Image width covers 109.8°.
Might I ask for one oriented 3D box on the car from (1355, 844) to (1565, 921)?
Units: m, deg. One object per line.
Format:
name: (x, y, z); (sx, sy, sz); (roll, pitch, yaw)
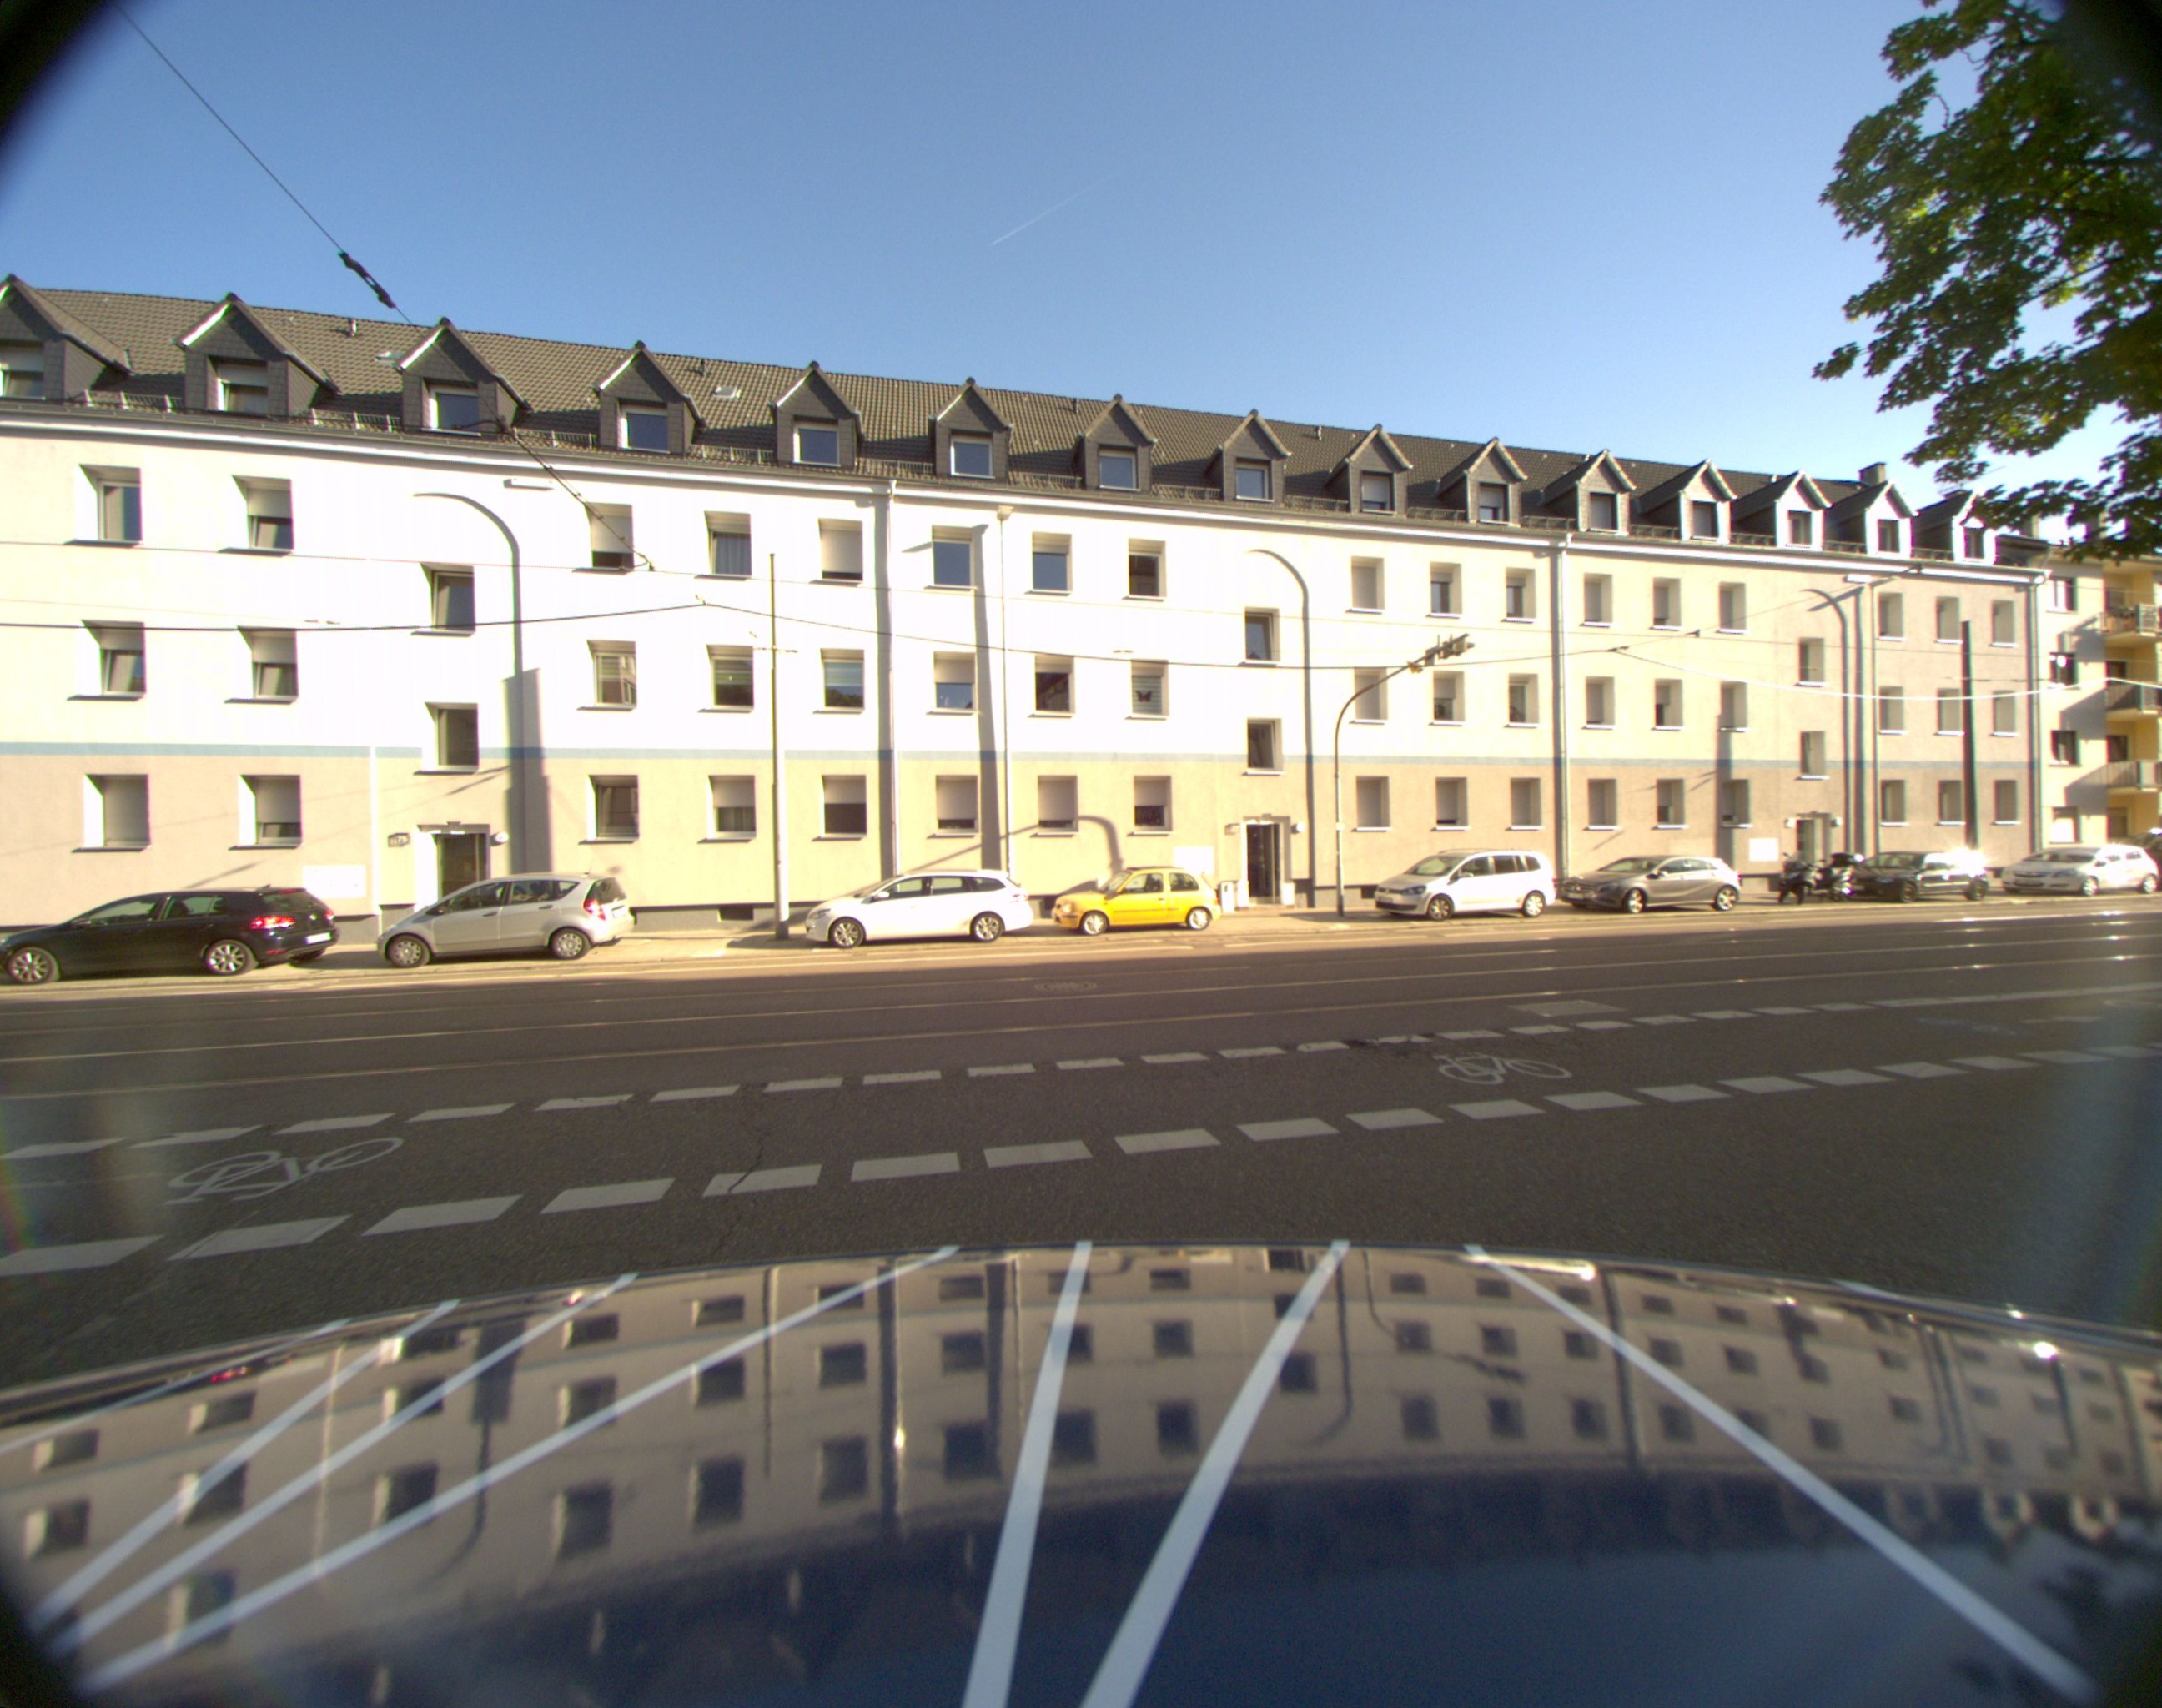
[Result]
car: (9.300, 0.637, 18.730); (4.628, 1.656, 1.758); (-1, 2, -15)

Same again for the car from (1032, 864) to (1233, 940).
car: (1.111, 1.012, 16.940); (4.202, 1.422, 1.516); (-2, 1, -13)

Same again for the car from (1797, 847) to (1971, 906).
car: (23.316, 0.617, 22.109); (3.904, 1.562, 1.612); (-1, 2, -11)

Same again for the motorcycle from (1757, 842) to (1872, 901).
motorcycle: (20.017, 0.458, 20.749); (2.709, 1.513, 0.807); (-1, 3, -11)

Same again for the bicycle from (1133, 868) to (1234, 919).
bicycle: (2.614, 0.984, 19.570); (2.328, 1.190, 1.098); (-1, 0, -13)

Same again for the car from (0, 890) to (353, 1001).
car: (-15.673, 1.515, 13.230); (4.008, 1.529, 1.594); (-1, 2, -13)

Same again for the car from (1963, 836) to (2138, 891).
car: (29.676, 0.247, 23.298); (3.905, 1.562, 1.804); (-1, 2, -13)

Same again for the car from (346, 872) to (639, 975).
car: (-10.825, 1.229, 14.283); (3.904, 1.562, 1.757); (-1, 3, -11)

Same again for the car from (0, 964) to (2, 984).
car: (-20.798, 1.542, 12.154); (3.905, 1.661, 1.663); (-1, 4, -11)

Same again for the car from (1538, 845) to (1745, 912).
car: (14.511, 0.591, 19.777); (4.367, 1.546, 1.867); (-1, 2, -11)

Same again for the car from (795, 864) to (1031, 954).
car: (-3.411, 1.074, 15.804); (4.511, 1.562, 1.683); (-1, 2, -12)
